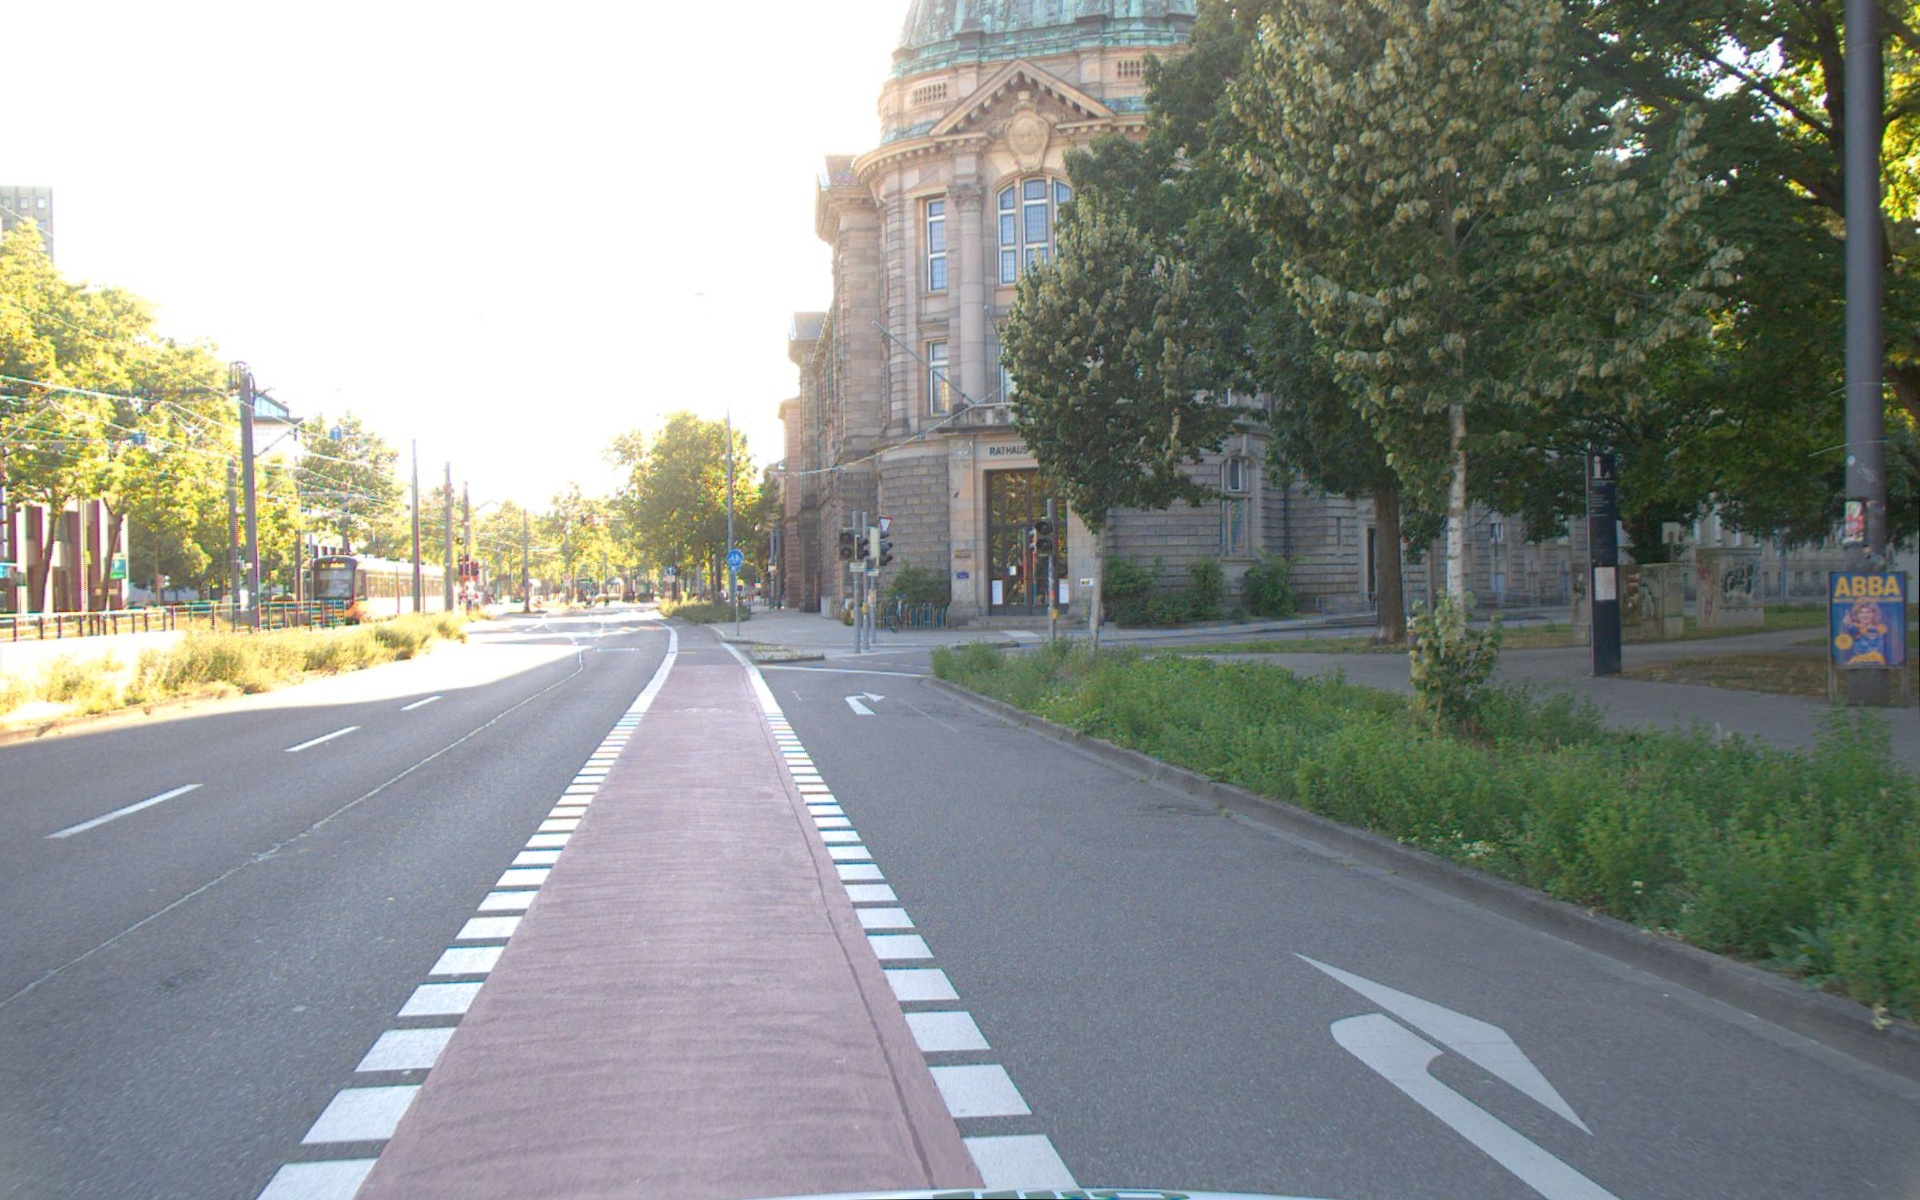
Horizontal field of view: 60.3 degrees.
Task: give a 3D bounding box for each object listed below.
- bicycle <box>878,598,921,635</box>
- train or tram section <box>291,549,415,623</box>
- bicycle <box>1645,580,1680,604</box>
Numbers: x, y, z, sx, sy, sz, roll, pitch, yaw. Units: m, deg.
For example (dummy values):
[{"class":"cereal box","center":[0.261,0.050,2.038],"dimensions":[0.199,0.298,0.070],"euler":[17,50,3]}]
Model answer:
[{"class":"bicycle","center":[-2.079,0.569,57.255],"dimensions":[0.848,1.217,2.241],"euler":[-1,0,14]},{"class":"train or tram section","center":[-33.055,-0.706,90.939],"dimensions":[3.055,3.621,17.439],"euler":[-1,0,-9]},{"class":"bicycle","center":[34.604,-0.389,81.470],"dimensions":[1.966,1.120,0.842],"euler":[-1,2,-43]}]
